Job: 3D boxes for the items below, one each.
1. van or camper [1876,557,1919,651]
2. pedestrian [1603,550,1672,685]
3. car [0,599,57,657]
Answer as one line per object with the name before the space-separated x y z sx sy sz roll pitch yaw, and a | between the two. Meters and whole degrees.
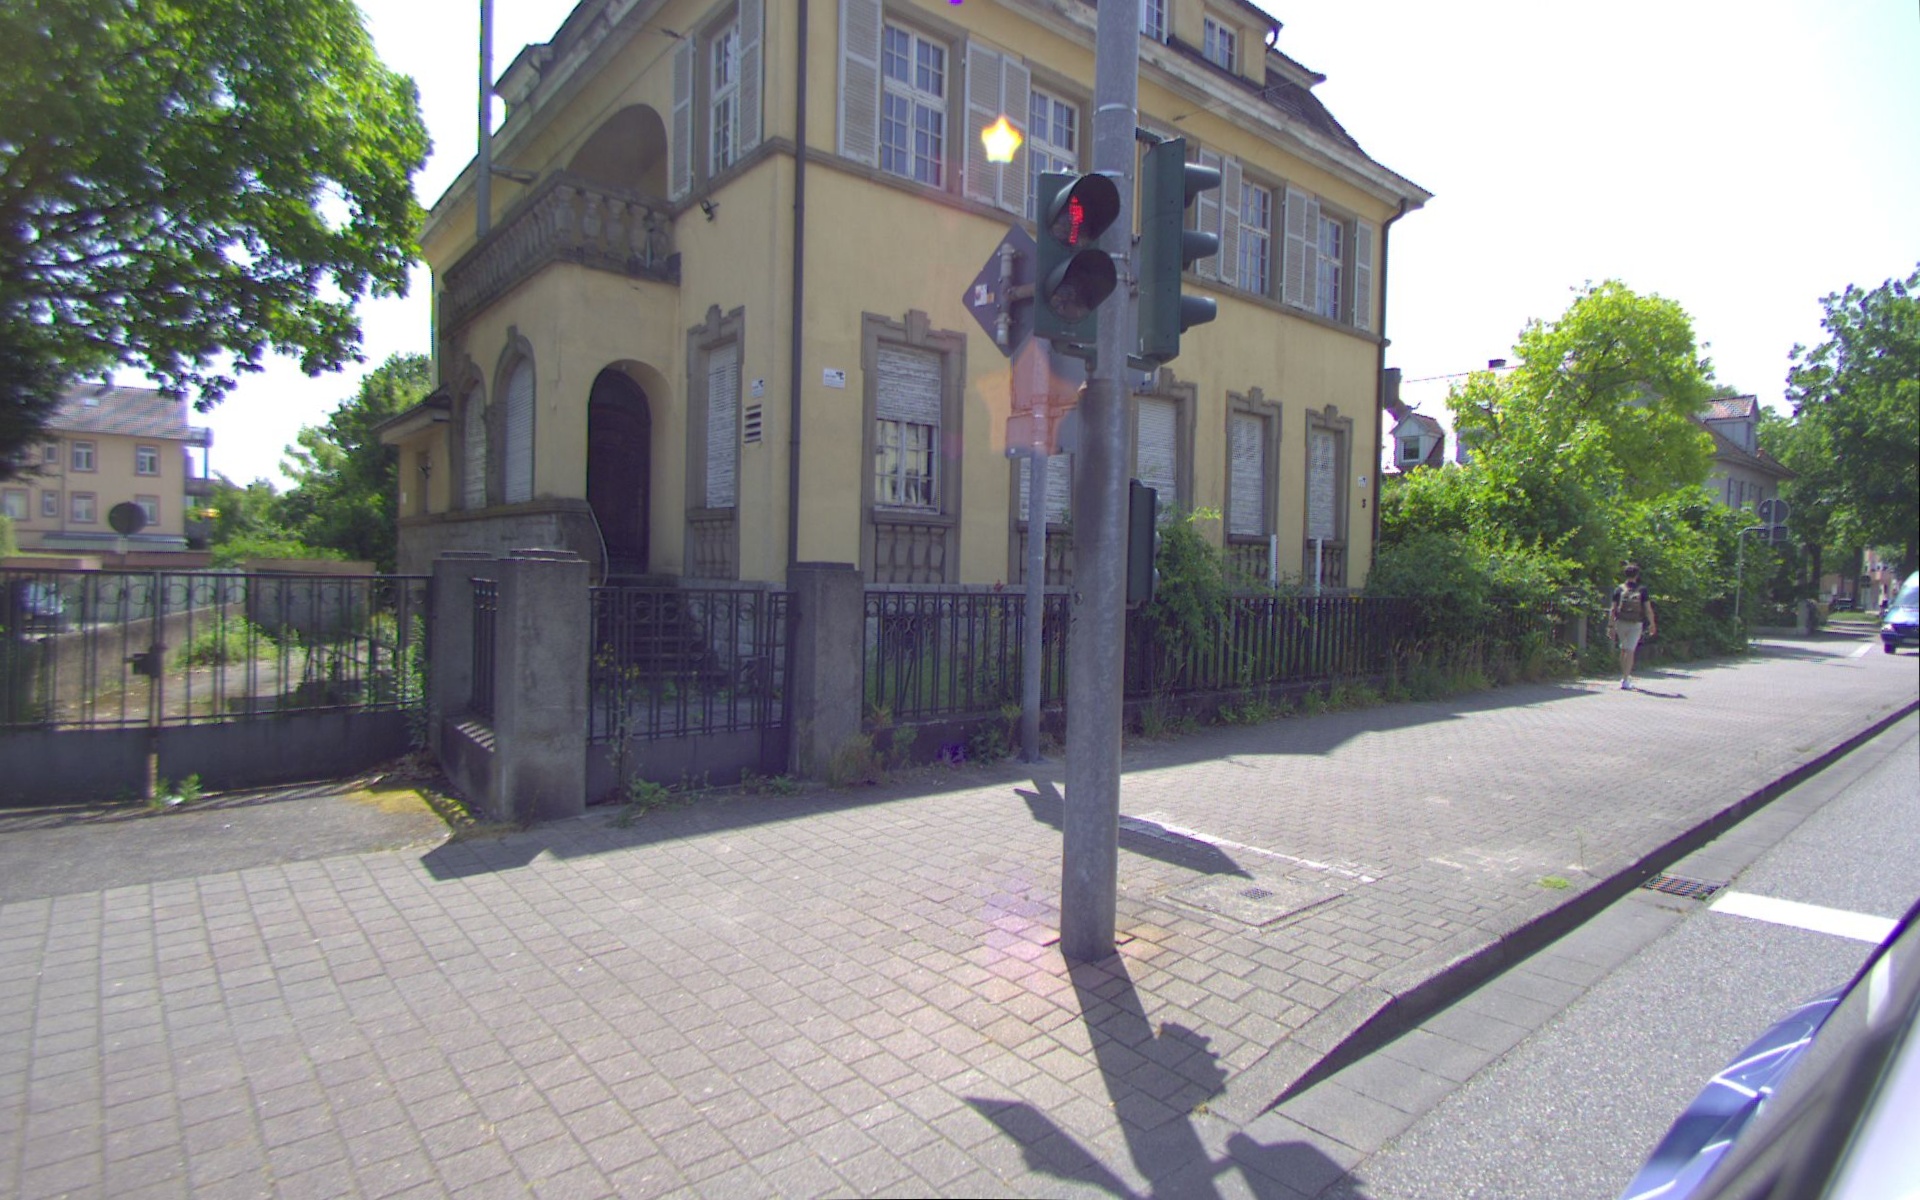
van or camper | 29.562 0.155 29.654 5.727 2.613 2.170 0 3 -29
pedestrian | 10.055 0.237 15.015 0.731 1.942 0.620 0 2 -41
car | -26.409 0.737 28.398 1.382 1.491 3.543 0 1 -38
